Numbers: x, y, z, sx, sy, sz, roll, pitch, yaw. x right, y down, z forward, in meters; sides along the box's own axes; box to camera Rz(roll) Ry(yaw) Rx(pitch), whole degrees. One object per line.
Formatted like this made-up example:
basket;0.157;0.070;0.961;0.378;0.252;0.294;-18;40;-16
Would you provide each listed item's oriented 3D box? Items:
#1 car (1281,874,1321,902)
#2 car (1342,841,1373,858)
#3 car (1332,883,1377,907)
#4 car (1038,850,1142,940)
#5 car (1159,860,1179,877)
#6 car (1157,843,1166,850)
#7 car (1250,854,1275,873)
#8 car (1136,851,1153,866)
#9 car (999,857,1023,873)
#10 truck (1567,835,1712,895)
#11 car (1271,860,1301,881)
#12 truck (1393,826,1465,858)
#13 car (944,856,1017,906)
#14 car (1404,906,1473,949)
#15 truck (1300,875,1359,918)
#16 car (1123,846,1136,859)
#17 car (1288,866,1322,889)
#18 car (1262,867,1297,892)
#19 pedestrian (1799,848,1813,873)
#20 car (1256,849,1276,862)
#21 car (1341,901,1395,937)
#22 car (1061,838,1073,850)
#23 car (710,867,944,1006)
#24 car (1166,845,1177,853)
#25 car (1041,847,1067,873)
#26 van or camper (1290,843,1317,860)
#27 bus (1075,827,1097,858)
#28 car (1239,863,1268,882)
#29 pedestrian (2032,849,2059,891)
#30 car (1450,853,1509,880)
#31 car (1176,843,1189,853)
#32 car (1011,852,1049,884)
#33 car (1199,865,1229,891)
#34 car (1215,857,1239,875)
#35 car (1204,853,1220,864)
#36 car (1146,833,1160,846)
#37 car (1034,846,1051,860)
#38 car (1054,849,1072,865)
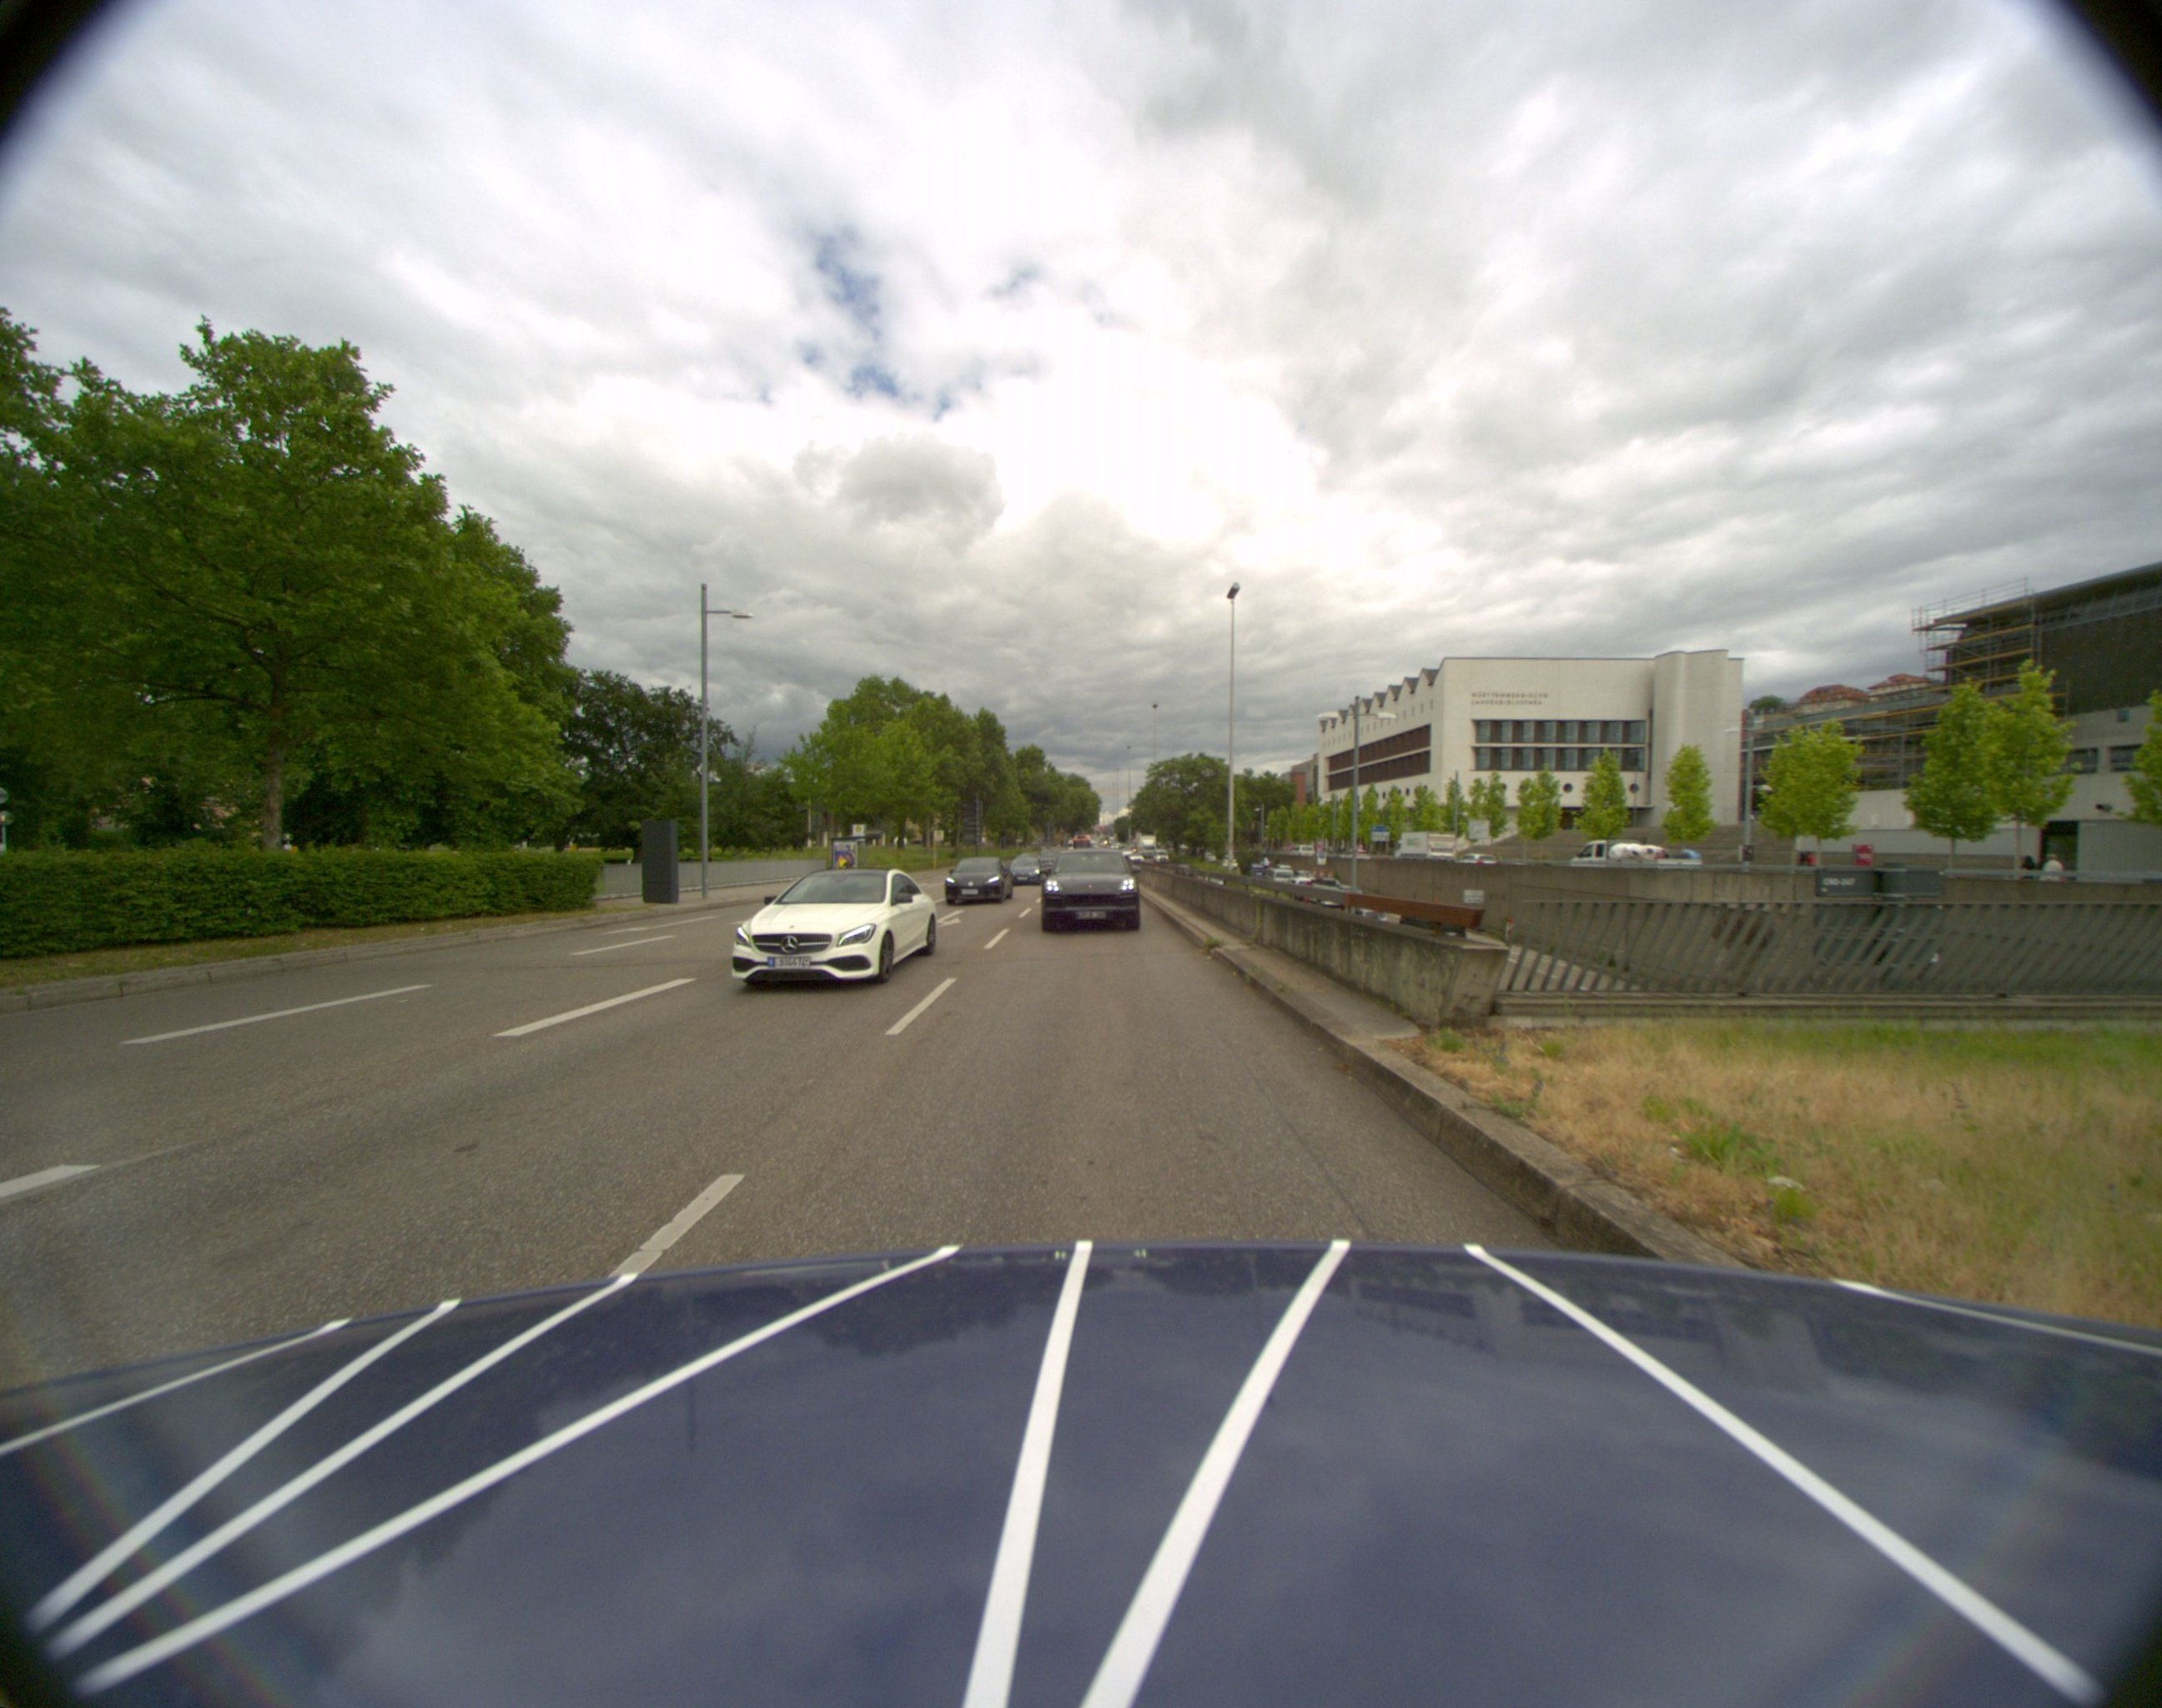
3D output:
car;17.730;2.683;61.312;1.998;2.002;4.000;3;0;1
car;28.026;-0.431;77.194;1.723;1.565;4.271;-1;0;2
car;20.876;3.120;58.129;1.998;1.543;3.999;-1;1;0
car;0.206;0.765;16.736;1.937;1.668;4.679;-1;1;1
car;10.672;1.740;92.027;1.998;2.002;4.000;-1;0;1
car;17.842;-1.637;167.928;1.675;1.477;3.361;-1;0;1
car;21.336;1.094;89.454;1.998;2.002;4.000;3;0;1
car;8.627;0.622;103.069;1.998;2.002;4.000;0;0;1
car;-6.654;1.044;72.673;1.867;1.412;4.000;-1;1;1
truck;28.362;0.530;39.051;2.470;2.800;7.079;-1;0;2
car;21.231;1.669;78.879;1.998;2.002;4.000;3;0;1
truck;31.641;-1.003;69.475;3.239;2.771;7.253;-1;0;0
car;-3.284;0.843;25.550;1.829;1.515;4.120;-1;0;1
car;20.346;4.159;43.447;1.998;1.944;4.229;-1;1;0
truck;17.479;2.956;53.745;2.324;2.675;5.979;-1;0;1
car;7.797;-0.248;122.562;1.998;2.002;4.000;0;0;1
car;21.426;2.185;72.825;1.998;2.002;4.000;3;0;1
car;17.793;2.263;68.294;1.998;2.002;4.333;3;0;1
pedestrian;44.014;0.379;46.104;0.381;1.513;0.461;-2;1;-6
car;27.488;0.202;112.923;1.998;1.805;4.000;-1;0;1
car;17.418;3.926;46.259;1.794;1.805;3.927;-1;0;0
car;-2.384;-1.770;134.132;1.998;2.002;3.999;-2;1;0
car;-3.258;0.973;10.802;1.723;1.415;4.505;-1;1;1
car;17.133;-0.930;144.357;1.675;1.477;3.361;-1;0;1
car;-1.977;0.405;57.217;1.723;1.851;4.430;-1;1;1
van or camper;27.315;-0.321;93.425;1.998;2.002;4.557;-1;0;1
bus;0.724;-1.623;110.901;3.043;4.327;8.748;-1;1;0
car;17.561;1.845;77.647;1.998;1.733;4.281;3;0;1
pedestrian;35.581;0.572;28.021;0.428;1.513;0.461;-2;1;-6
car;28.405;0.870;54.317;1.998;1.805;4.258;-1;0;1
car;20.714;-1.266;154.860;1.998;2.002;3.999;-1;1;0
car;-2.605;0.705;39.756;1.573;1.528;4.001;-1;1;2
car;11.644;2.053;66.737;1.998;2.002;3.999;1;2;1
car;17.973;1.467;93.492;1.998;2.119;4.852;3;0;1
car;18.091;0.637;105.061;1.675;1.477;3.361;1;1;1
car;11.438;-2.264;120.595;1.997;2.002;4.002;-1;1;9
car;-4.651;-0.134;92.674;1.723;1.528;4.001;-1;1;1
car;-1.728;0.283;73.783;1.565;1.409;3.619;-1;0;1
